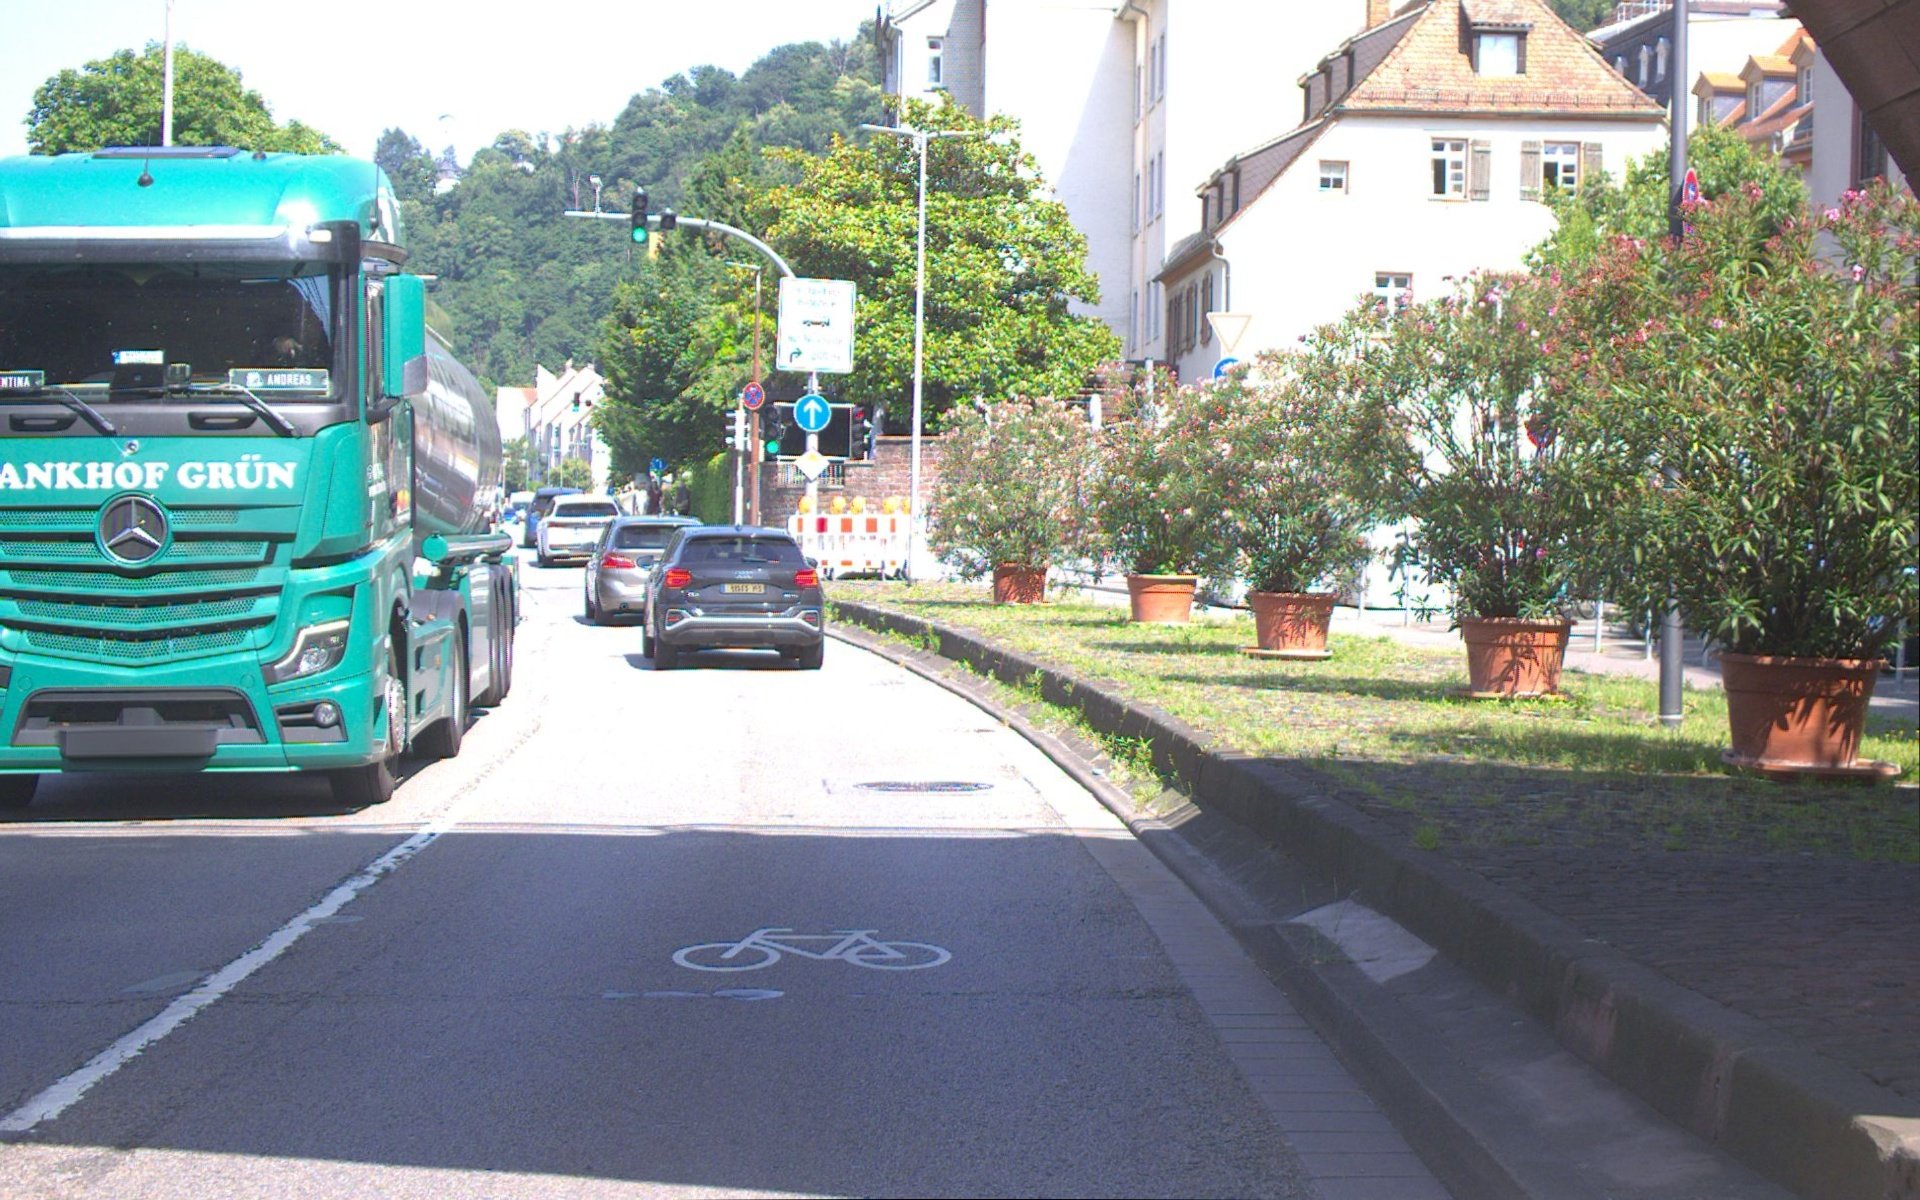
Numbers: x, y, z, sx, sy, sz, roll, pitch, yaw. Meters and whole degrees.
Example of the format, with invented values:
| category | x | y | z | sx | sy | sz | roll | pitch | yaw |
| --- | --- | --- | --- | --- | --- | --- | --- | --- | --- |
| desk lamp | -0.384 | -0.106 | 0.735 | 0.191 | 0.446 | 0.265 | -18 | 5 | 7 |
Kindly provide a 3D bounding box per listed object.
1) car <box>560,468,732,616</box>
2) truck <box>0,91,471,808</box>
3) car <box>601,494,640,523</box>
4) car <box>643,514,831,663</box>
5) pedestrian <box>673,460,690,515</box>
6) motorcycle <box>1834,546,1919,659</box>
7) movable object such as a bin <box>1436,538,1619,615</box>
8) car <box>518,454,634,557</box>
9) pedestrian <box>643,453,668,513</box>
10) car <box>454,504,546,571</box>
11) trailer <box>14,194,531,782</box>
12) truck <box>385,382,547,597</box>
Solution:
| category | x | y | z | sx | sy | sz | roll | pitch | yaw |
| --- | --- | --- | --- | --- | --- | --- | --- | --- | --- |
| car | -4.501 | -0.795 | 48.769 | 1.993 | 2.007 | 4.001 | 0 | 0 | -12 |
| truck | -4.584 | -0.892 | 21.152 | 2.523 | 3.735 | 6.247 | -1 | 2 | -3 |
| car | -18.294 | -4.926 | 185.098 | 1.993 | 1.448 | 4.009 | 0 | 0 | -7 |
| car | -2.467 | -0.163 | 37.234 | 1.856 | 1.518 | 4.001 | 0 | 1 | -6 |
| pedestrian | -8.242 | -3.322 | 101.697 | 0.455 | 1.600 | 0.579 | 0 | 1 | -7 |
| motorcycle | 11.114 | 0.009 | 39.781 | 2.177 | 1.262 | 0.783 | -1 | 2 | -39 |
| movable object such as a bin | 8.712 | -0.383 | 52.702 | 2.948 | 1.106 | 1.257 | -1 | 3 | -45 |
| car | -8.018 | -1.944 | 71.535 | 1.993 | 2.007 | 4.001 | 2 | 0 | -11 |
| pedestrian | -8.996 | -3.453 | 101.690 | 0.680 | 1.736 | 0.913 | 0 | 1 | -7 |
| car | -11.775 | -1.588 | 87.835 | 1.993 | 1.656 | 4.001 | 0 | 1 | -13 |
| trailer | -4.986 | -0.864 | 27.141 | 2.523 | 3.631 | 11.533 | -1 | 2 | -4 |
| truck | -8.226 | -1.862 | 57.050 | 2.375 | 3.250 | 7.614 | -2 | 2 | -9 |
